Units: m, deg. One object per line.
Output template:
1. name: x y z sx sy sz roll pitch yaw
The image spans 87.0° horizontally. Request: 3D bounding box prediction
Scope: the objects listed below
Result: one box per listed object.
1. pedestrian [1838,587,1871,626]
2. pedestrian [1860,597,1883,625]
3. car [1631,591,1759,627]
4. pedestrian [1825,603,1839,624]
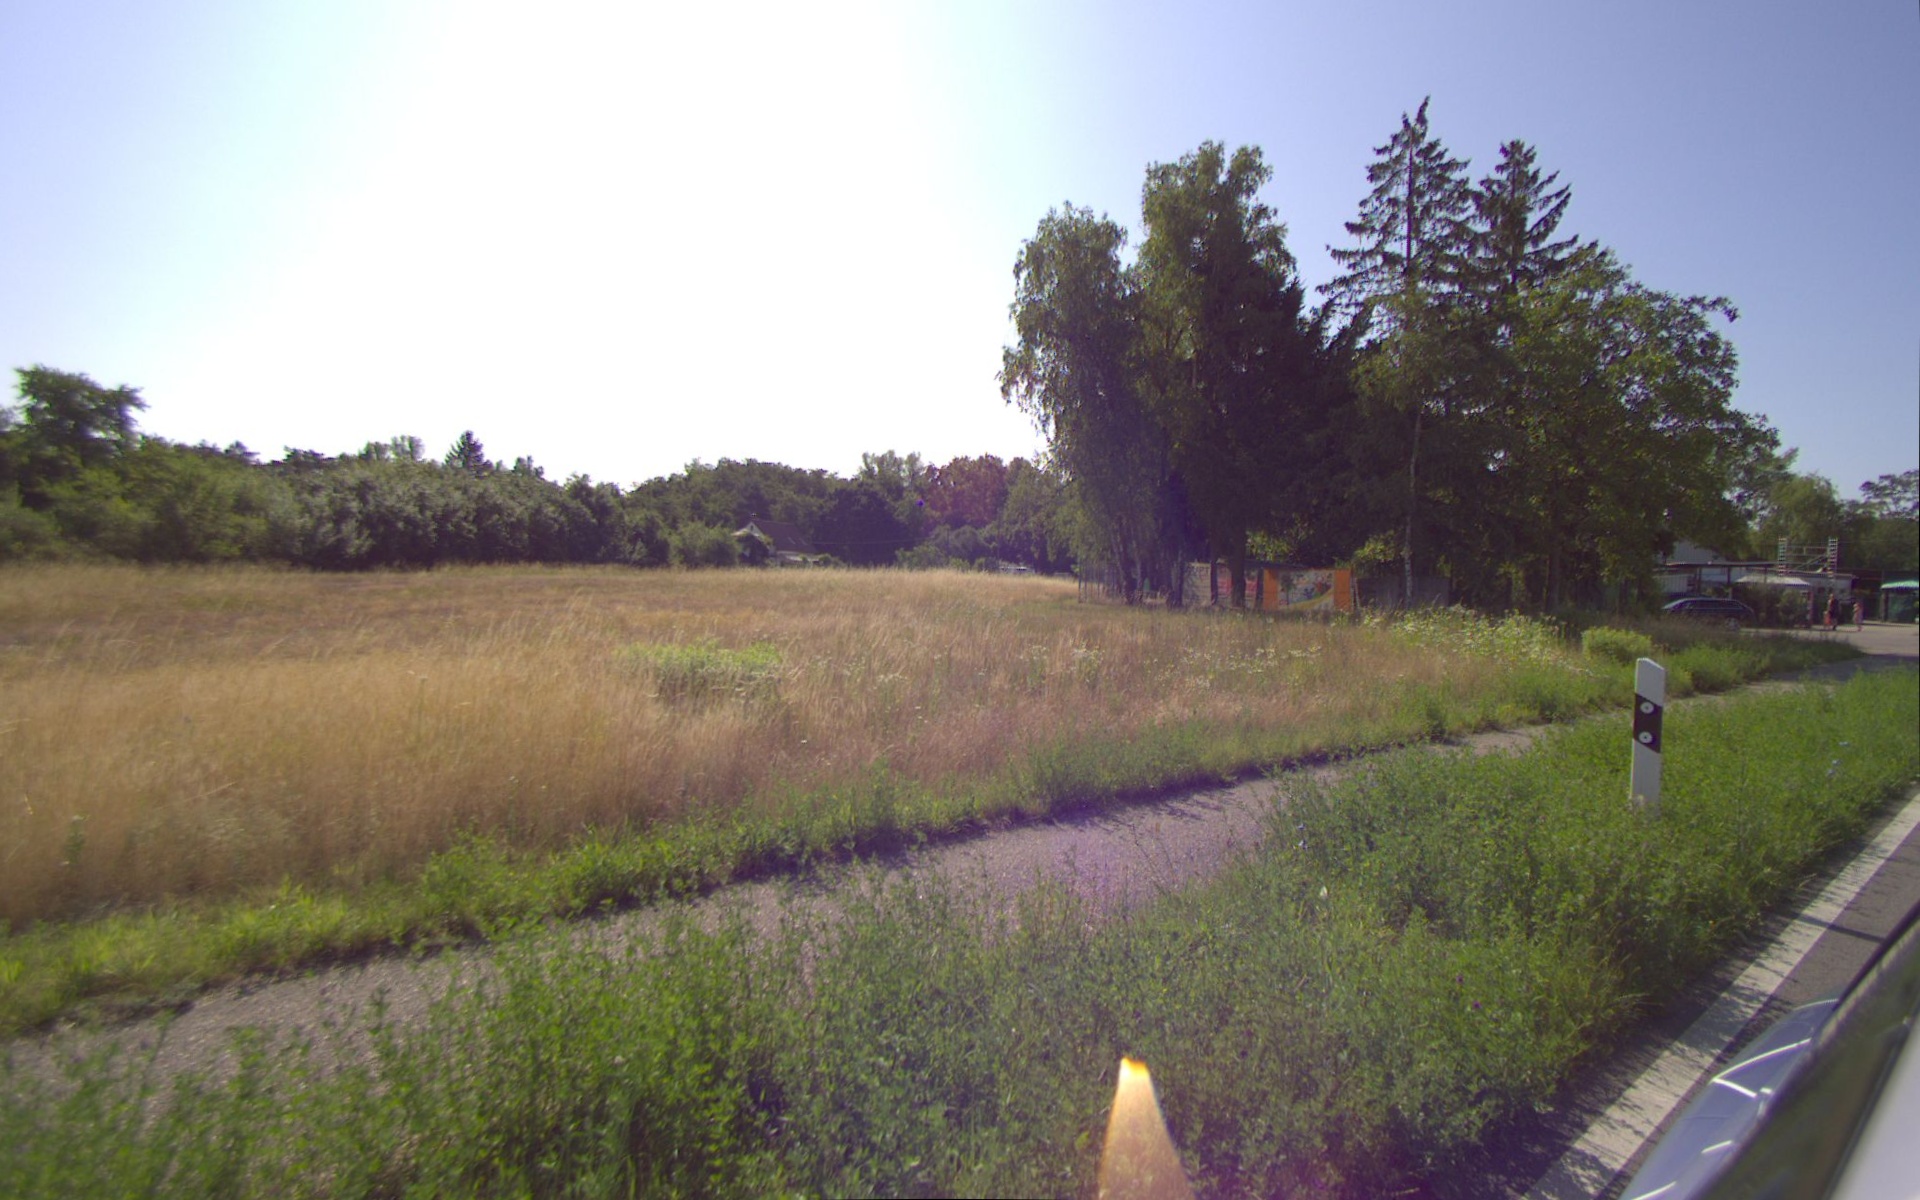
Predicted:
1. pedestrian: 43.494 0.301 49.211 1.094 1.808 0.924 2 1 38
2. pedestrian: 44.722 0.530 49.651 0.721 1.354 0.814 2 2 38
3. car: 33.638 0.389 46.473 4.410 1.448 1.703 2 1 21
4. pedestrian: 42.652 0.655 49.491 0.468 0.996 0.334 2 1 38
